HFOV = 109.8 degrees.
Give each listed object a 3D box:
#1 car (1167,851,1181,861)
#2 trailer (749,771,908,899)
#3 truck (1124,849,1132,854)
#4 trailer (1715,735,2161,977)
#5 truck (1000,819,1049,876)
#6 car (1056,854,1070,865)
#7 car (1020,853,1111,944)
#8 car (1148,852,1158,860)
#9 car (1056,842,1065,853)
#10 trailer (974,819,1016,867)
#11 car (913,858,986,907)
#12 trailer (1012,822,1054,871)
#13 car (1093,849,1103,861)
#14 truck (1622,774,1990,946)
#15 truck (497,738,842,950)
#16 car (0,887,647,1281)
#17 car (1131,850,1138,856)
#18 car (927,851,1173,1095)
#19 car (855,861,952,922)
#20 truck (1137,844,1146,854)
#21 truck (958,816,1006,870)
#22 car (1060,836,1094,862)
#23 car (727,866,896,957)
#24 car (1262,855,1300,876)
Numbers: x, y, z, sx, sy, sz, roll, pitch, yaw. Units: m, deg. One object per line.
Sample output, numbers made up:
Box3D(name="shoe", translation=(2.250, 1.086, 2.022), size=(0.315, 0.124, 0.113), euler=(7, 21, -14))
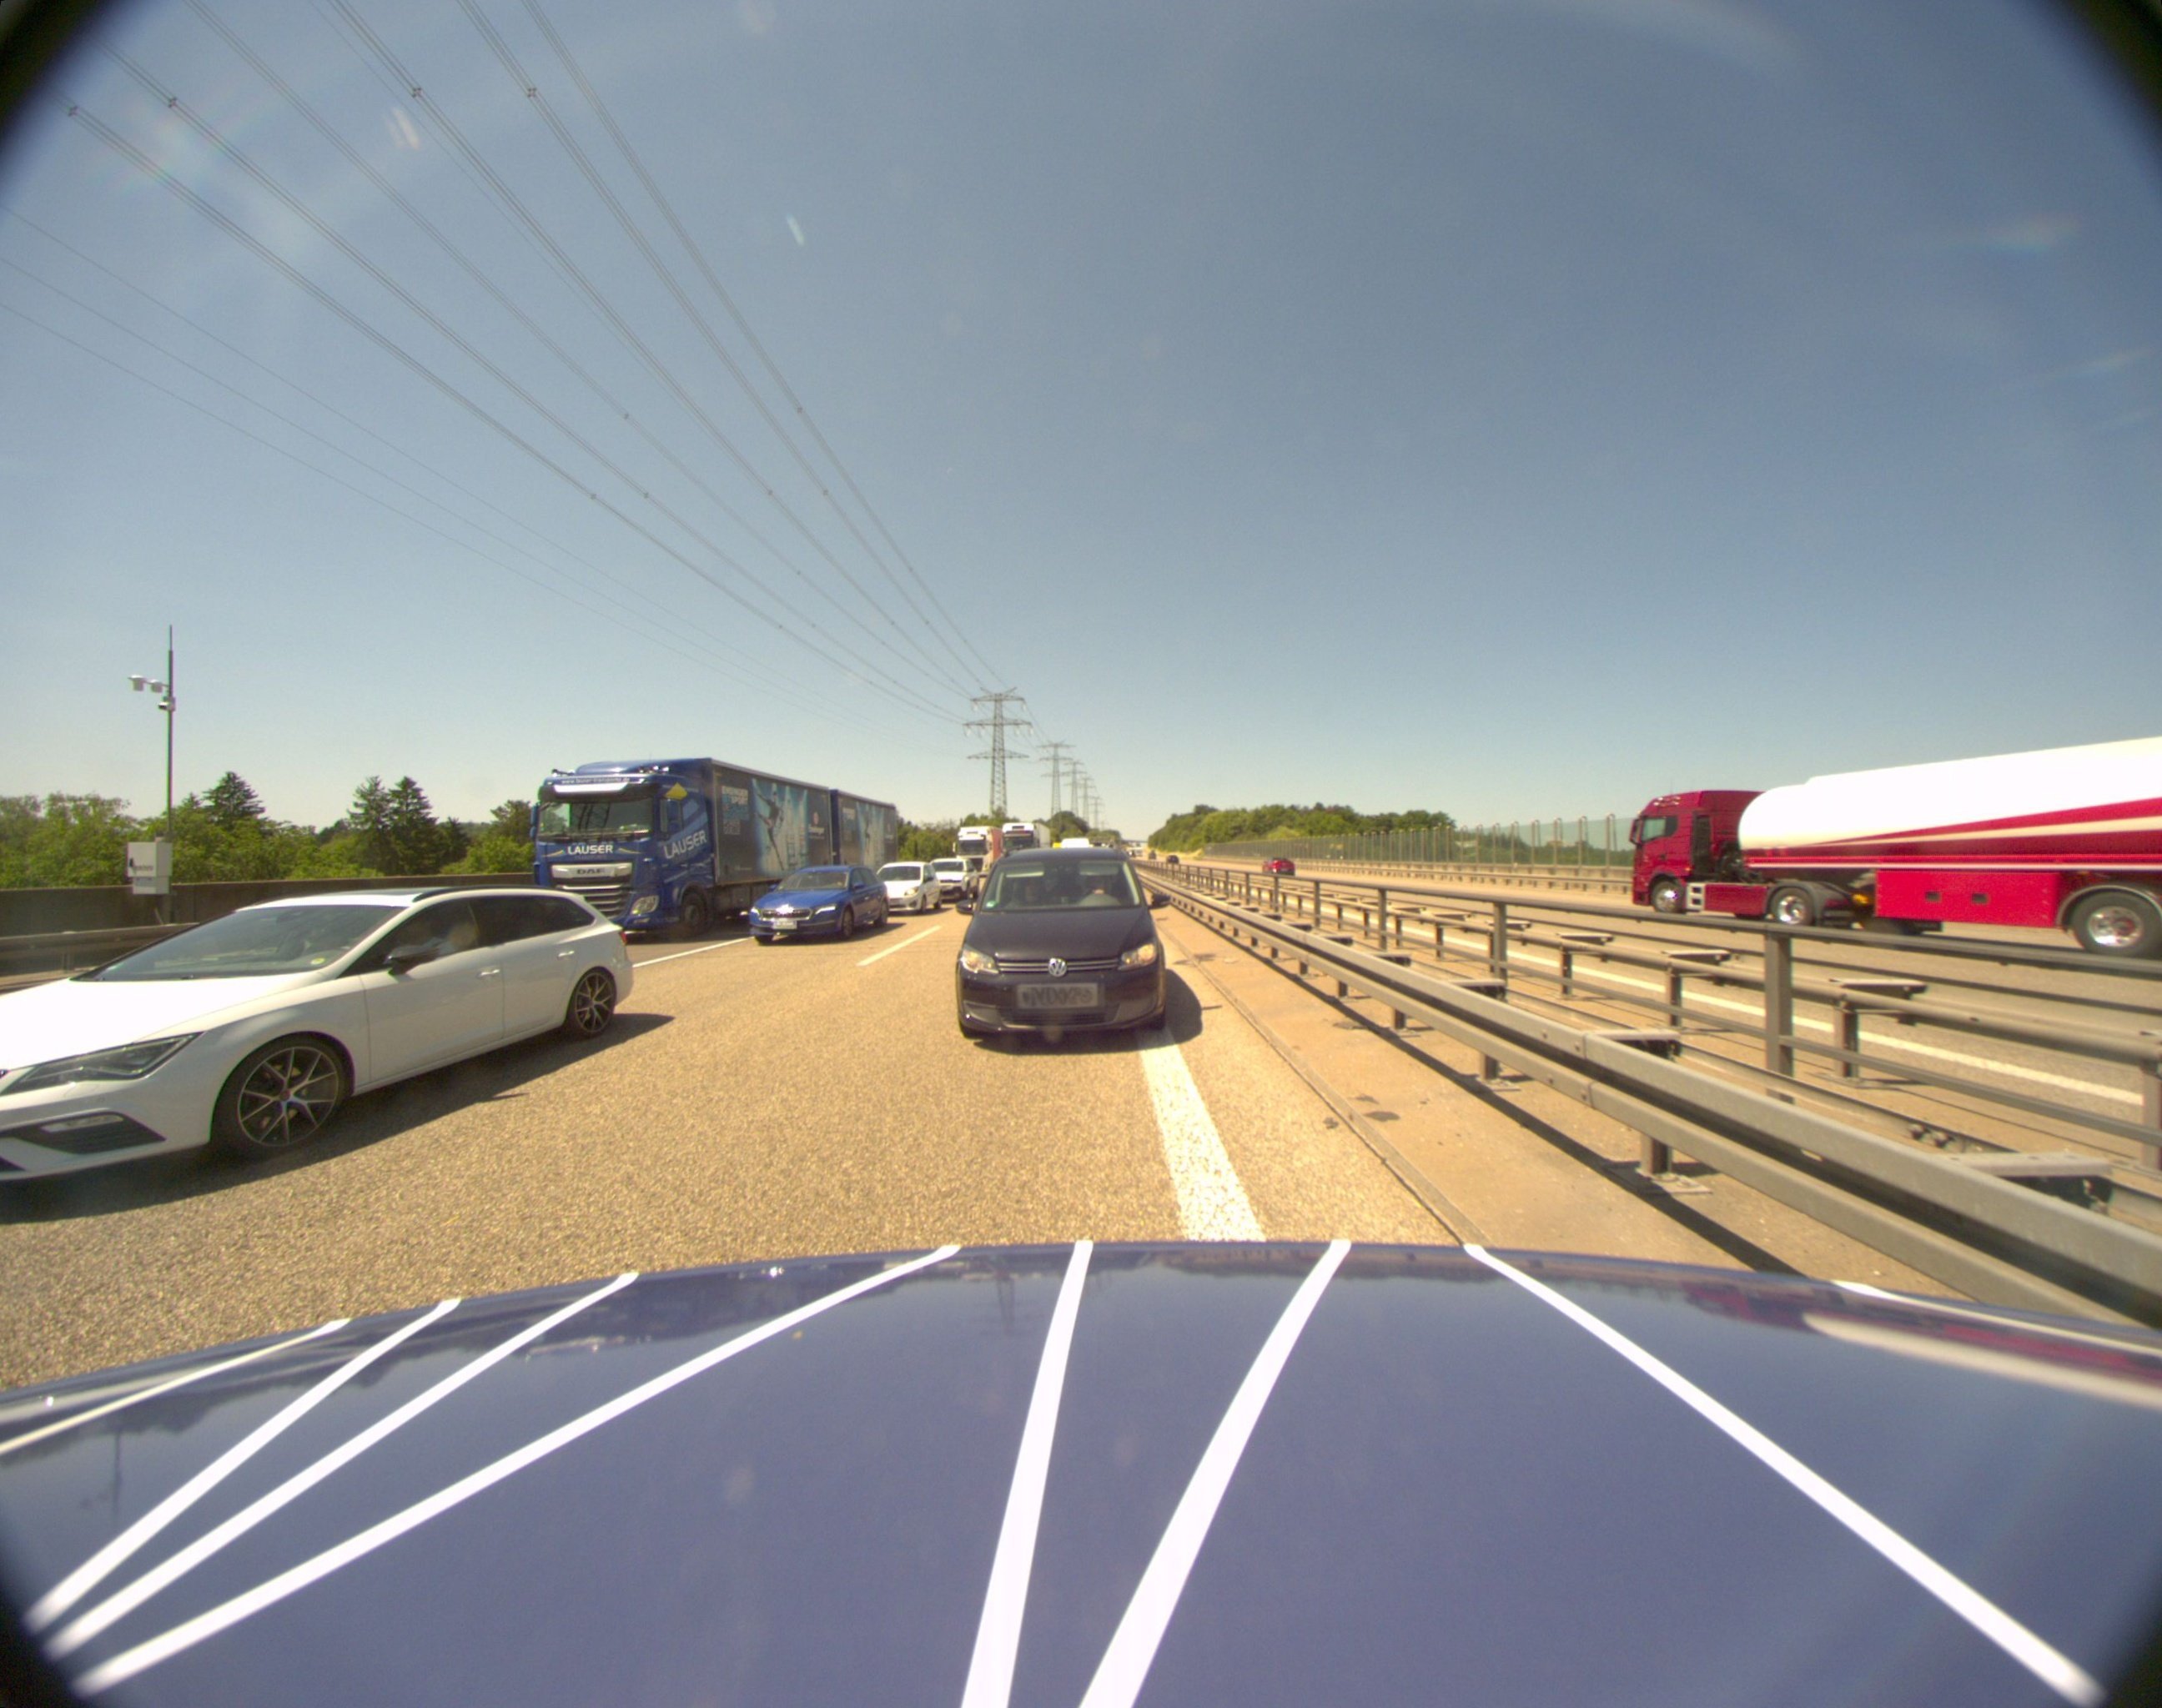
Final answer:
Box3D(name="car", translation=(13.893, 0.334, 113.903), size=(1.704, 1.412, 4.000), euler=(2, 1, 1))
Box3D(name="trailer", translation=(-9.247, -0.661, 29.162), size=(2.835, 4.065, 8.637), euler=(-2, 1, 1))
Box3D(name="truck", translation=(16.116, -0.805, 260.033), size=(2.295, 1.807, 5.279), euler=(2, 1, 1))
Box3D(name="trailer", translation=(16.548, 0.036, 12.220), size=(2.883, 3.359, 12.007), euler=(1, 1, 2))
Box3D(name="truck", translation=(-4.097, -0.511, 56.681), size=(2.849, 3.804, 8.263), euler=(-2, 1, 0))
Box3D(name="car", translation=(-2.478, 0.717, 103.439), size=(1.704, 1.412, 4.000), euler=(2, 1, 1))
Box3D(name="car", translation=(-0.276, 0.874, 16.829), size=(1.712, 1.669, 3.932), euler=(-2, 1, 1))
Box3D(name="car", translation=(16.710, 0.467, 176.273), size=(1.832, 1.629, 4.000), euler=(2, 1, 1))
Box3D(name="car", translation=(-4.862, -1.446, 180.500), size=(1.704, 2.525, 4.000), euler=(2, 1, 1))
Box3D(name="trailer", translation=(-7.869, -0.989, 70.581), size=(2.608, 4.094, 9.084), euler=(-2, 1, 0))
Box3D(name="car", translation=(-4.632, 0.942, 27.314), size=(1.712, 1.501, 4.144), euler=(-2, 1, 2))
Box3D(name="trailer", translation=(-3.984, -0.664, 65.333), size=(2.822, 3.830, 9.084), euler=(-2, 1, 0))
Box3D(name="car", translation=(3.093, 0.169, 135.988), size=(1.704, 2.116, 4.000), euler=(-2, 1, 1))
Box3D(name="truck", translation=(16.700, 0.079, 18.333), size=(2.915, 3.395, 6.294), euler=(1, 1, 2))
Box3D(name="truck", translation=(-9.493, -0.244, 19.707), size=(2.859, 3.927, 10.394), euler=(-2, 1, 2))
Box3D(name="car", translation=(-5.217, 1.078, 5.346), size=(1.713, 1.443, 4.429), euler=(-2, 0, 0))
Box3D(name="car", translation=(14.560, -0.236, 206.531), size=(1.704, 1.412, 4.000), euler=(2, 1, 1))
Box3D(name="car", translation=(-0.193, 0.855, 7.431), size=(1.712, 1.669, 3.932), euler=(-2, 1, 1))
Box3D(name="car", translation=(-5.043, 1.016, 22.186), size=(1.712, 1.443, 4.144), euler=(-2, 1, 2))
Box3D(name="truck", translation=(19.968, -1.627, 251.620), size=(2.638, 3.295, 6.075), euler=(2, 1, 1))
Box3D(name="truck", translation=(-7.965, -0.889, 61.967), size=(2.608, 3.964, 8.263), euler=(-2, 1, 0))
Box3D(name="car", translation=(-0.216, -0.316, 47.998), size=(1.924, 1.501, 3.996), euler=(-2, 1, 2))
Box3D(name="car", translation=(-5.324, 1.055, 15.740), size=(1.712, 1.443, 4.563), euler=(-2, 1, 2))
Box3D(name="car", translation=(14.754, 0.821, 56.137), size=(1.786, 1.412, 4.000), euler=(2, 1, 1))
